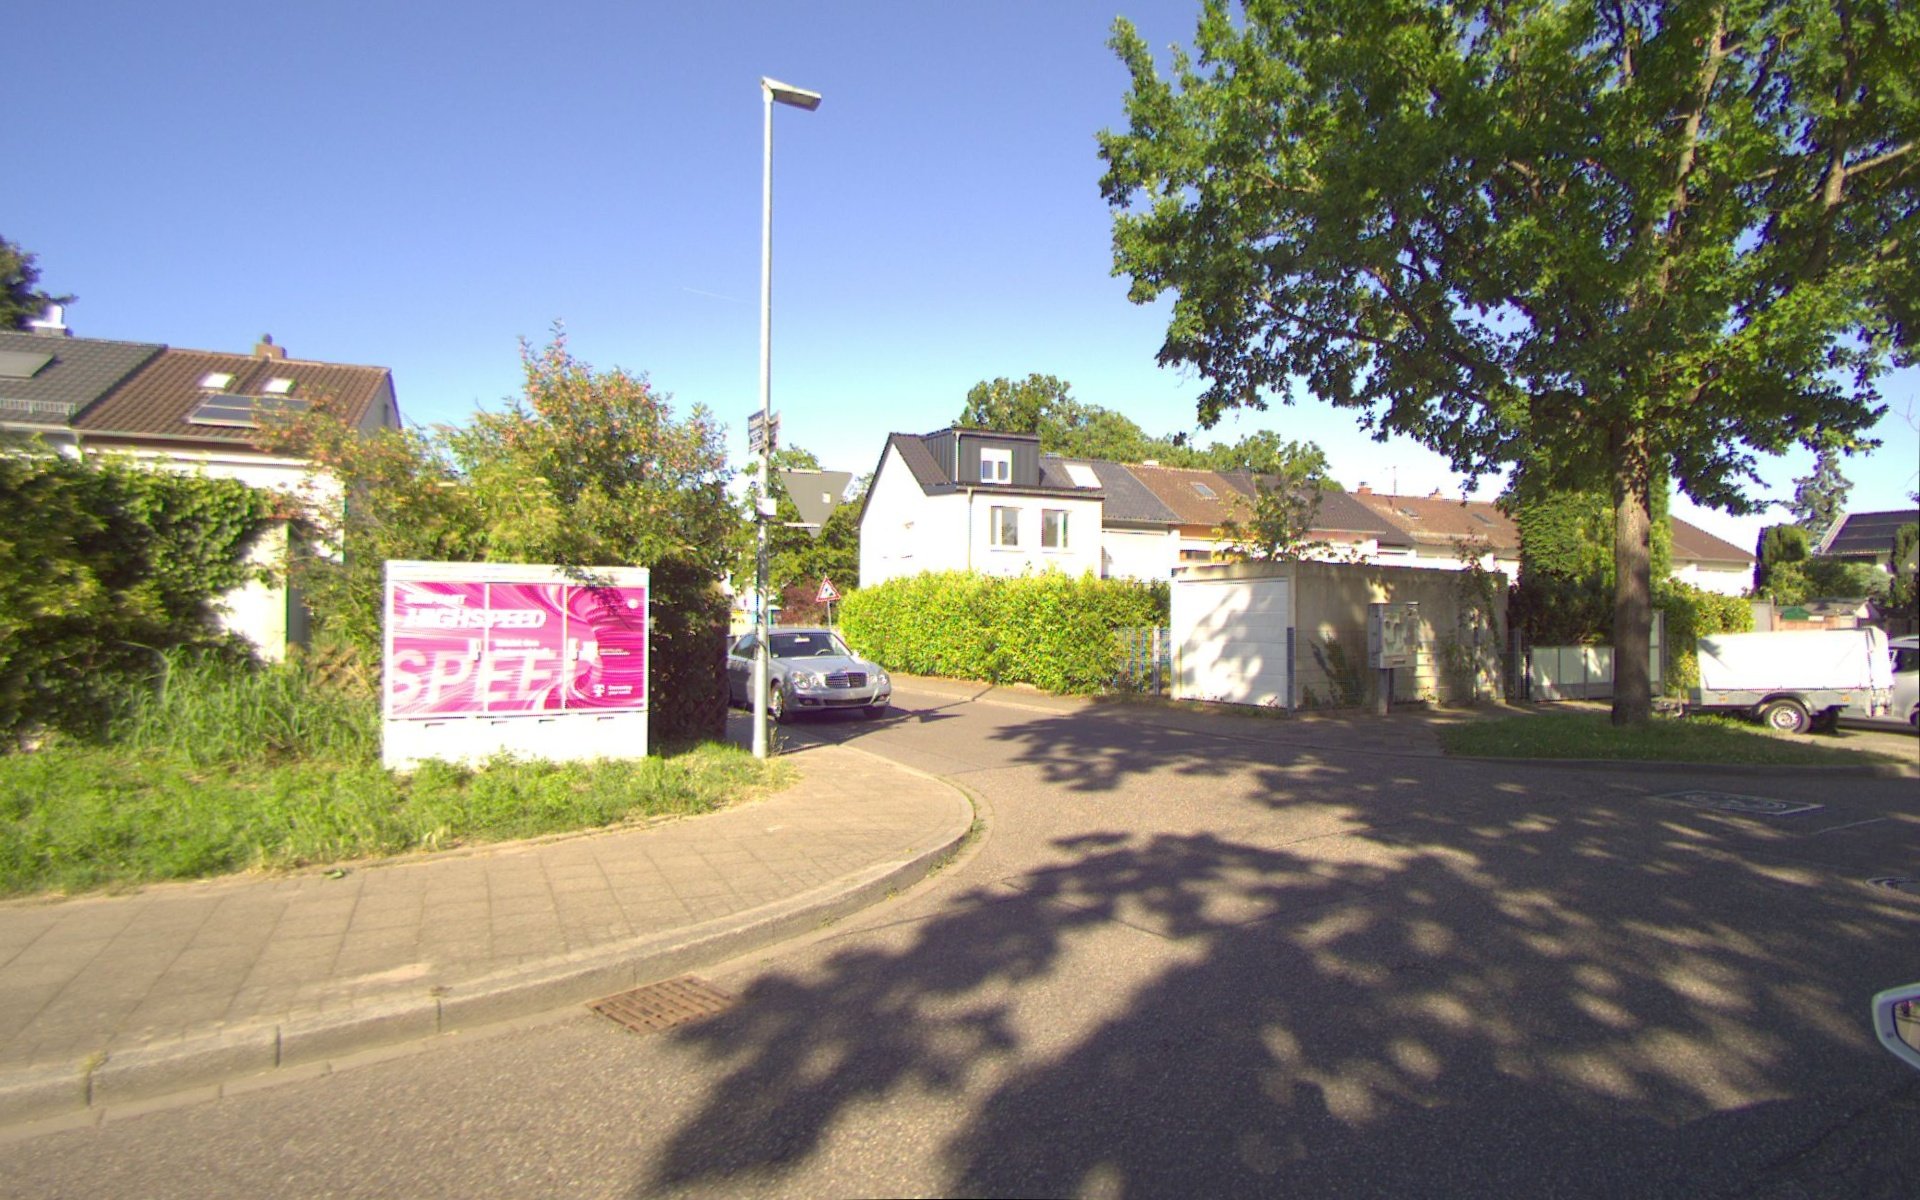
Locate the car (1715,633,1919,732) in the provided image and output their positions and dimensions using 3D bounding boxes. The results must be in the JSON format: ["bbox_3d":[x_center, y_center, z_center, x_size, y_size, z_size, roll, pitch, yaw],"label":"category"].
[{"bbox_3d":[15.058,1.319,16.775,1.788,1.496,3.531,1,-2,-31],"label":"car"}]

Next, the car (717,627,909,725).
[{"bbox_3d":[-2.632,1.170,17.026,1.899,1.403,4.330,1,-1,-28],"label":"car"}]

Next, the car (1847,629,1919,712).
[{"bbox_3d":[19.624,1.375,19.330,1.834,1.578,3.525,2,-2,-35],"label":"car"}]

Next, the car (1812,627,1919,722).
[{"bbox_3d":[17.555,1.313,17.750,1.835,1.634,3.524,1,-2,-37],"label":"car"}]

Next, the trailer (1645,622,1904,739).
[{"bbox_3d":[12.832,1.191,15.961,1.382,1.677,2.948,1,-2,-35],"label":"trailer"}]
